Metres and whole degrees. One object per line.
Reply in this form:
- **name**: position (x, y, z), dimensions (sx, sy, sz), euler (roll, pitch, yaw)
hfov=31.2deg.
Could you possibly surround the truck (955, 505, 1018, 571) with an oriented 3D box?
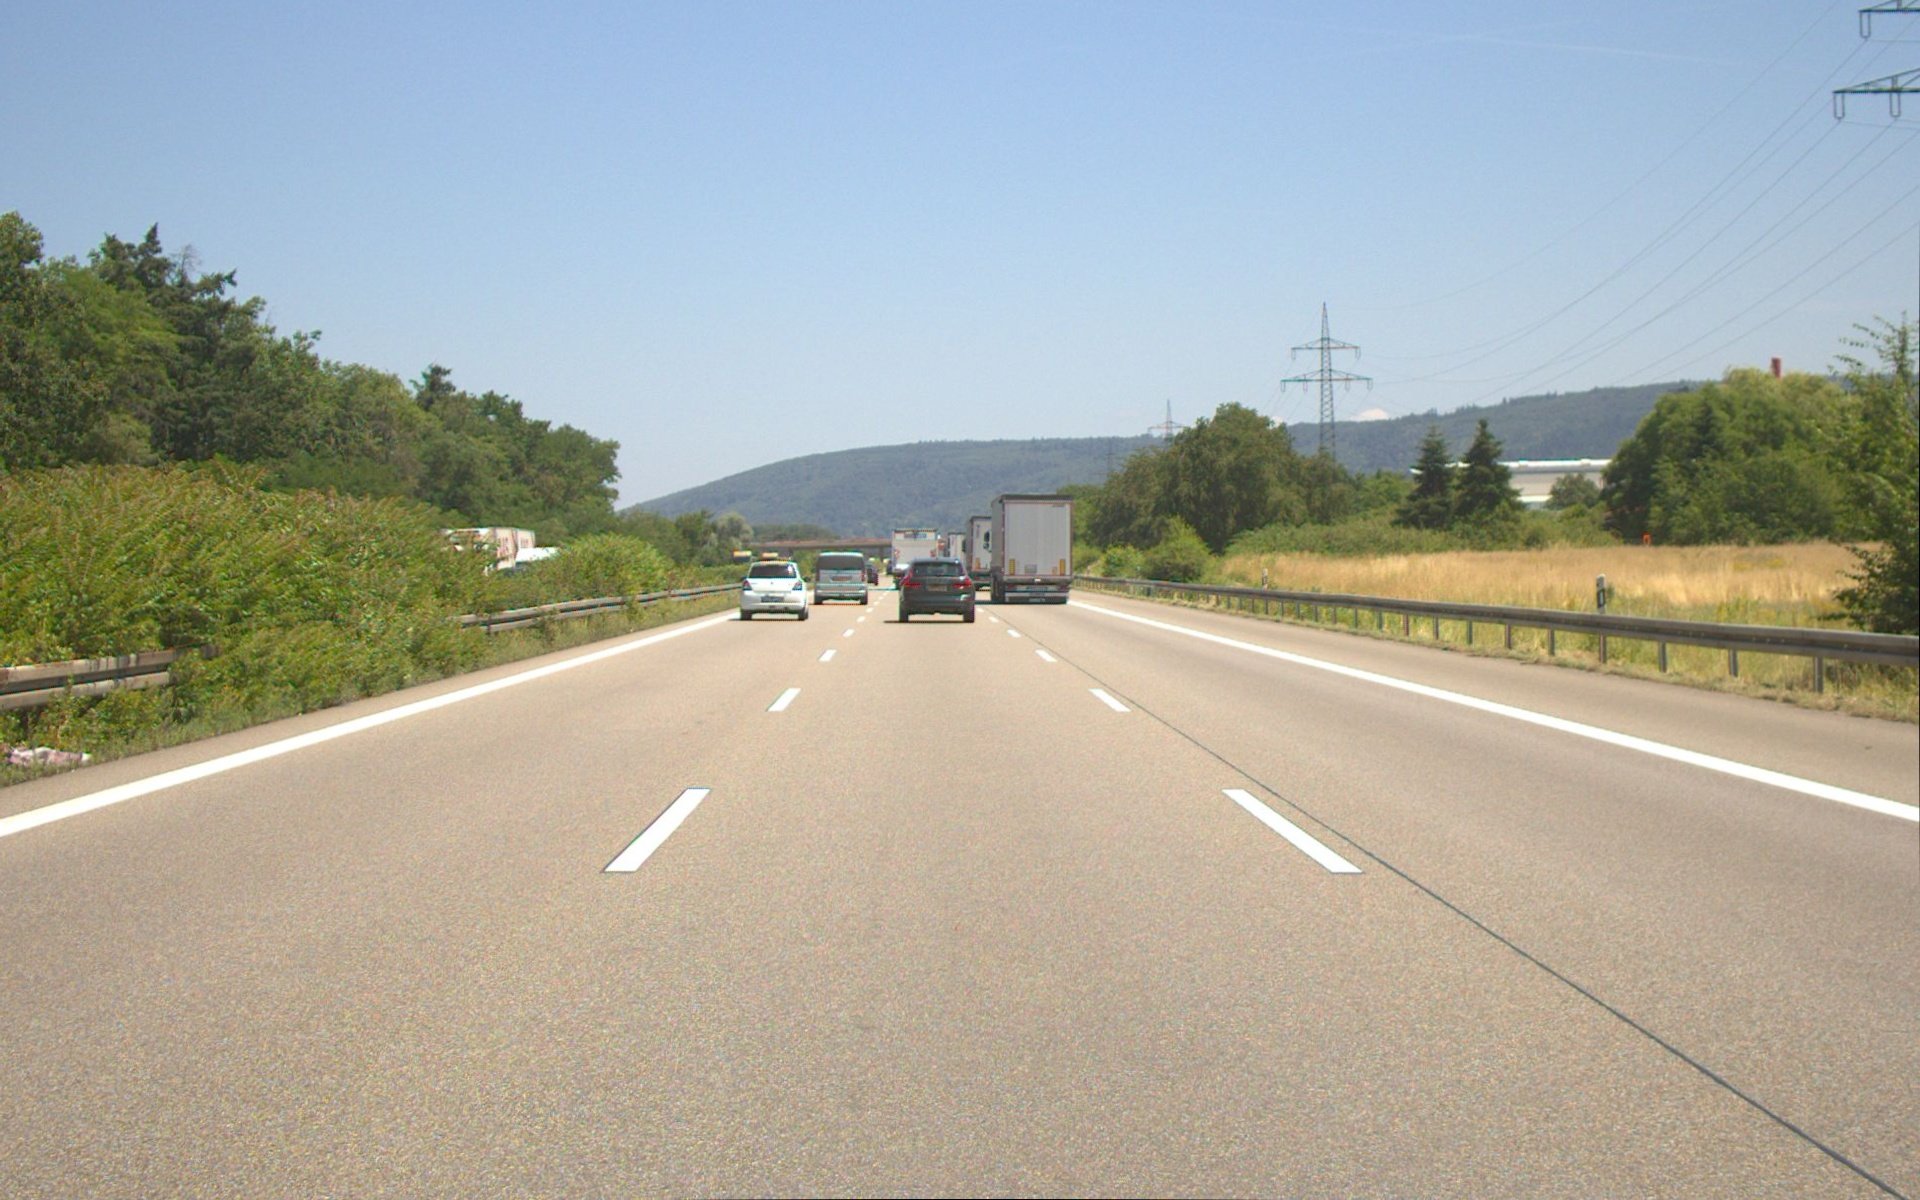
- **truck**: position (1.402, -3.450, 189.954), dimensions (3.097, 3.462, 11.543), euler (1, 1, -1)

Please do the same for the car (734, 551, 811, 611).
- **car**: position (-4.850, -0.503, 89.263), dimensions (1.806, 1.463, 4.000), euler (1, 1, -1)

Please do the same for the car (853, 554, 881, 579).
- **car**: position (-6.268, -2.287, 232.087), dimensions (1.852, 1.627, 4.000), euler (1, 1, -1)

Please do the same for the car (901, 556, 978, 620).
- **car**: position (-0.526, -0.320, 86.644), dimensions (1.885, 1.510, 4.000), euler (1, 1, -1)

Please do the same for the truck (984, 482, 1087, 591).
- **truck**: position (2.745, -2.411, 129.198), dimensions (3.265, 3.844, 11.633), euler (1, 1, -1)

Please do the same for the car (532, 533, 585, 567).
- **car**: position (-17.247, -2.147, 147.920), dimensions (1.786, 1.397, 4.329), euler (1, 1, -1)

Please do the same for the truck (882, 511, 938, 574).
- **truck**: position (-2.911, -3.306, 197.303), dimensions (3.097, 3.462, 11.543), euler (1, 1, -1)

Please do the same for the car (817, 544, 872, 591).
- **car**: position (-4.154, -1.195, 123.976), dimensions (1.852, 1.627, 4.000), euler (1, 1, -1)
